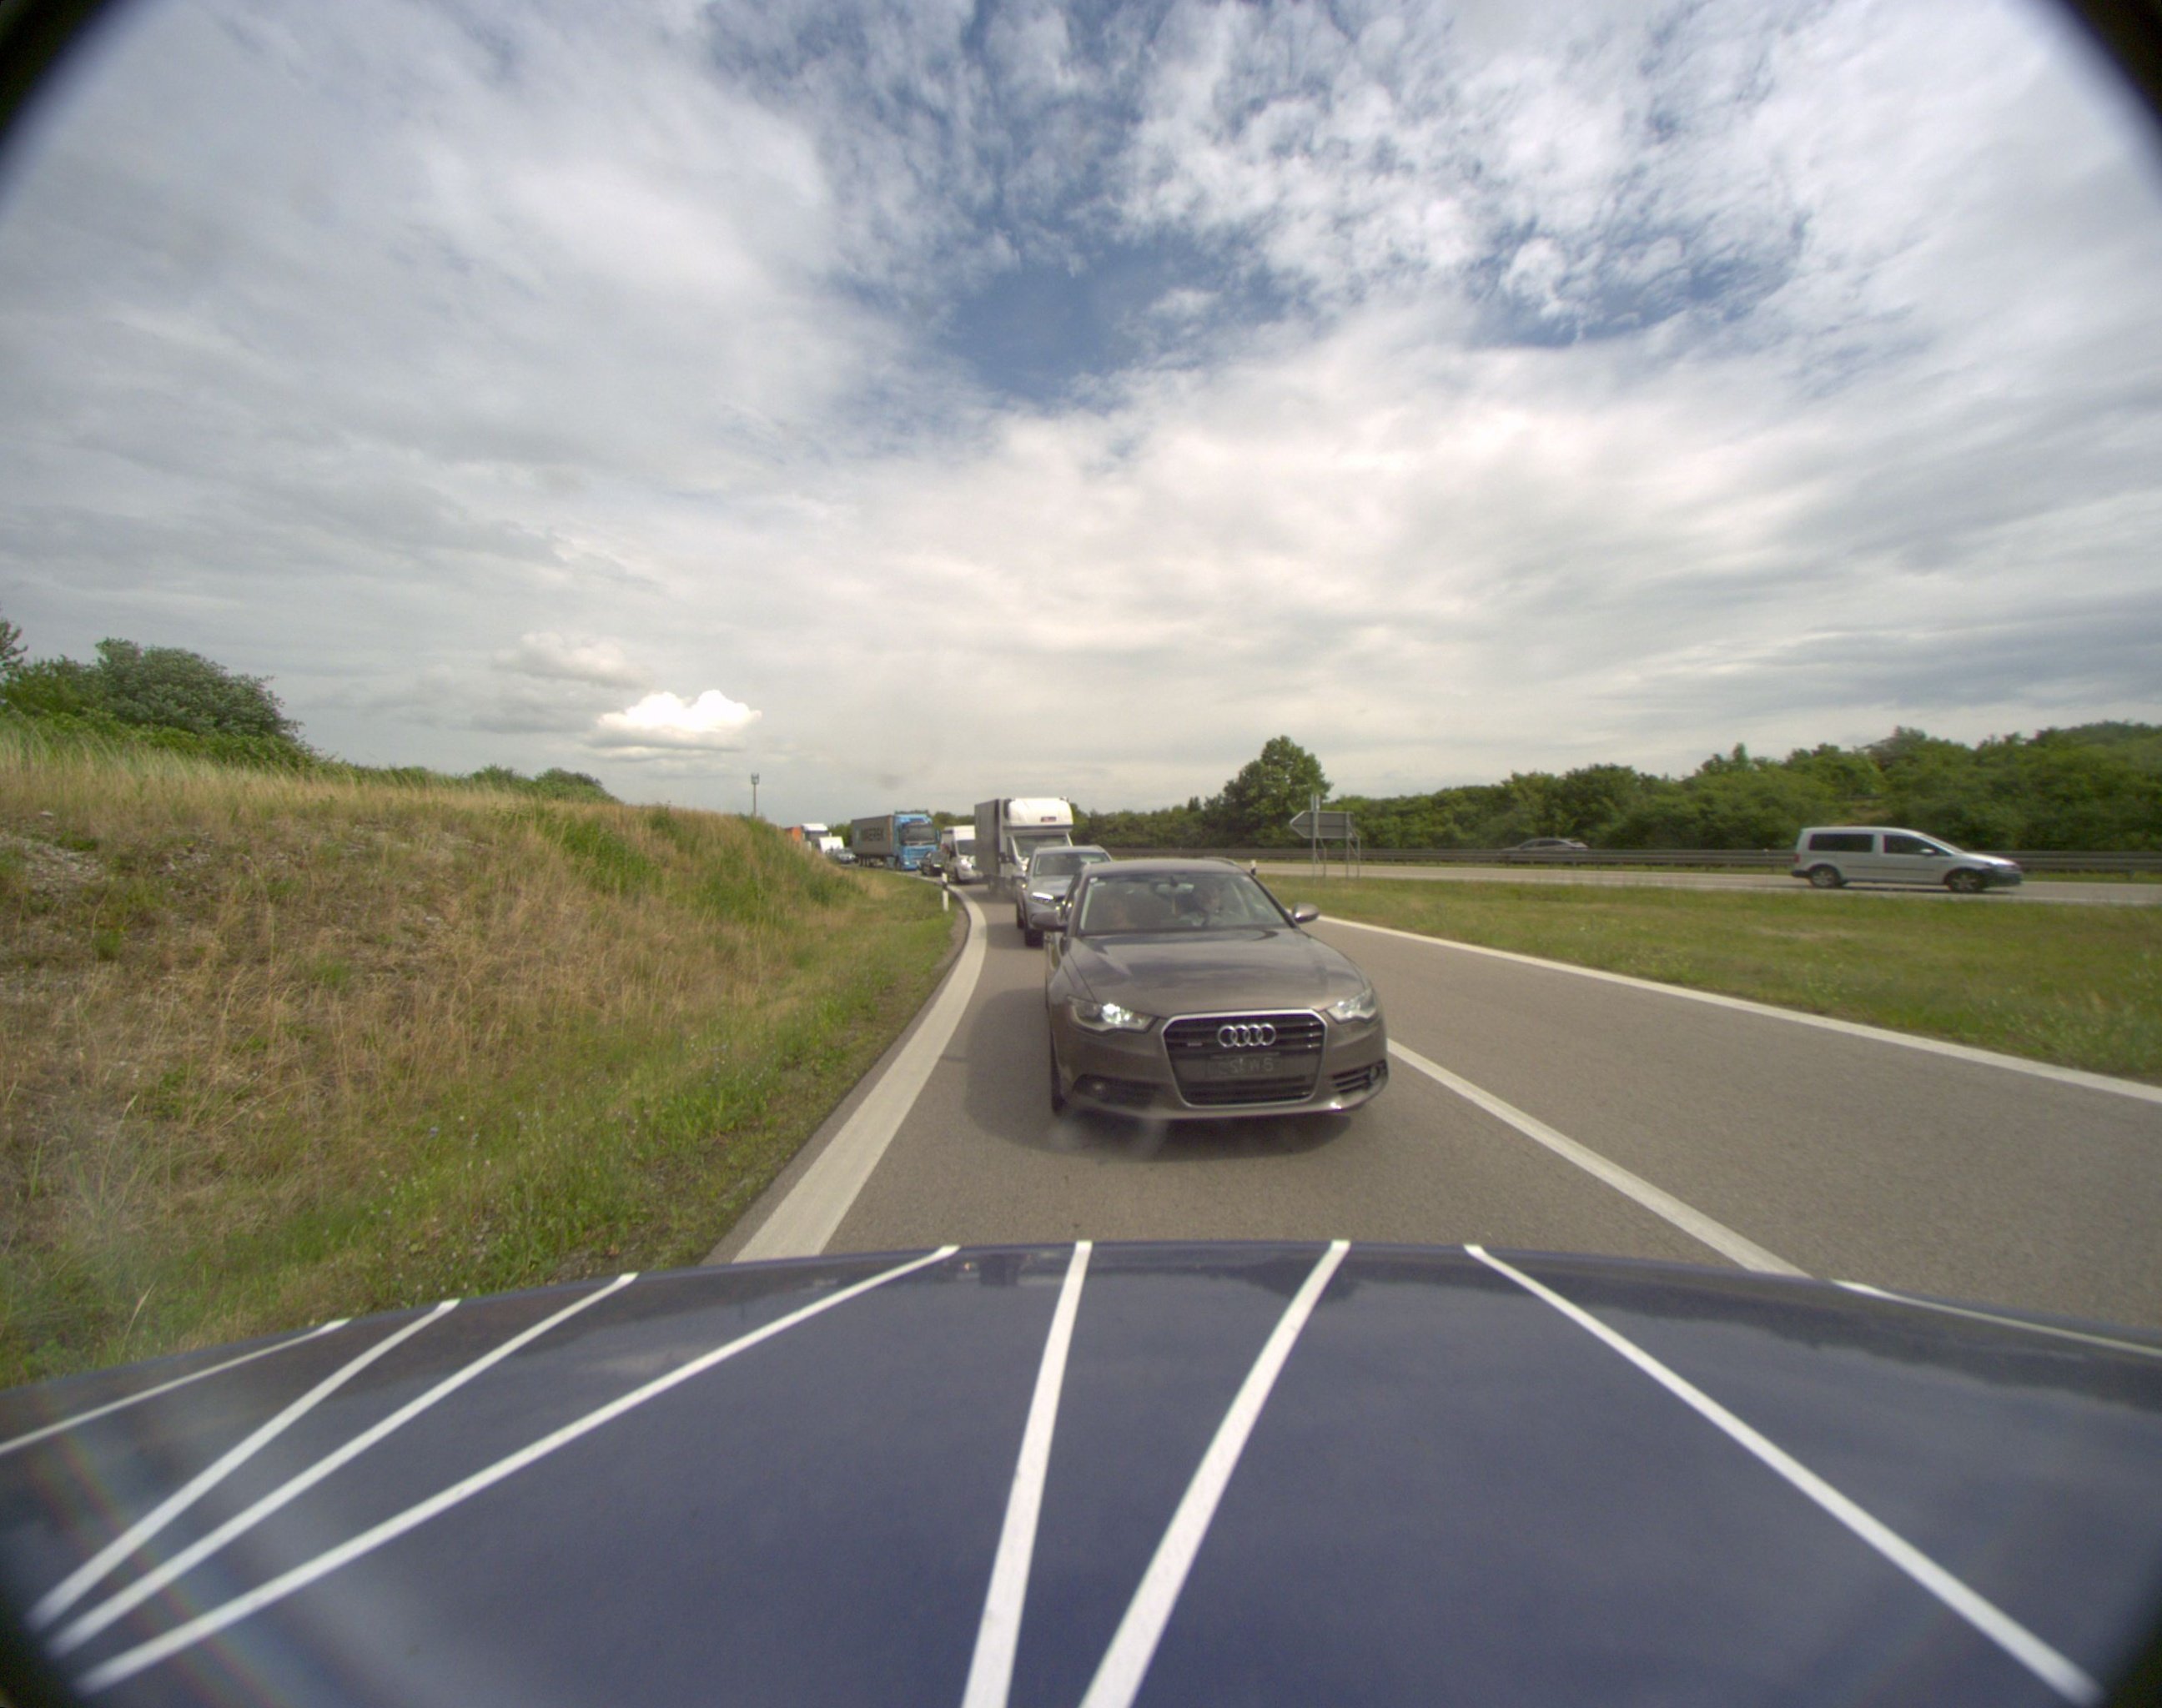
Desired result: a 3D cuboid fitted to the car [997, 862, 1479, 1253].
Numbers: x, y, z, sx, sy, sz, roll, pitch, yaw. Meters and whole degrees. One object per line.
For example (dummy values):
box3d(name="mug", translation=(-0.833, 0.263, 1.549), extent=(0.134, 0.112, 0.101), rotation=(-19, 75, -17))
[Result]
box3d(name="car", translation=(0.650, 0.881, 5.470), extent=(1.999, 1.505, 4.537), rotation=(-2, 1, -1))

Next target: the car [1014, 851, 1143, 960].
box3d(name="car", translation=(-0.217, 0.773, 13.703), extent=(1.843, 1.587, 4.170), rotation=(-1, 1, -7))

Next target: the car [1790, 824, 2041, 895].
box3d(name="car", translation=(23.686, 0.088, 21.762), extent=(2.215, 1.783, 4.500), rotation=(-1, 2, -33))

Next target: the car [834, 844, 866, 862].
box3d(name="car", translation=(-21.306, -0.119, 69.924), extent=(2.003, 1.521, 3.990), rotation=(-2, 2, -29))

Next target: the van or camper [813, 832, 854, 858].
box3d(name="van or camper", translation=(-24.480, -0.971, 75.001), extent=(2.557, 2.200, 5.693), rotation=(-3, 5, -31))

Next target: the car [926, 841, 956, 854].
box3d(name="car", translation=(-17.058, -0.806, 92.632), extent=(2.003, 1.415, 4.446), rotation=(-2, 2, -33))

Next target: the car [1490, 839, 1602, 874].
box3d(name="car", translation=(25.295, 0.094, 41.560), extent=(1.719, 1.783, 4.966), rotation=(-1, 2, -33))

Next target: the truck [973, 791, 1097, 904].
box3d(name="truck", translation=(-1.807, -0.217, 25.521), extent=(2.570, 3.149, 7.457), rotation=(-2, 1, -15))

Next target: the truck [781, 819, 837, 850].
box3d(name="truck", translation=(-30.523, -2.066, 84.878), extent=(3.131, 3.220, 11.131), rotation=(-2, 1, -34))

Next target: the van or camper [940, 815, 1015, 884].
box3d(name="van or camper", translation=(-4.994, -0.201, 35.796), extent=(2.401, 2.892, 5.711), rotation=(-3, 1, -18))

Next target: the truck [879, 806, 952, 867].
box3d(name="truck", translation=(-11.993, -1.174, 54.609), extent=(3.184, 4.049, 6.631), rotation=(-3, 1, -29))

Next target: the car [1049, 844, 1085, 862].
box3d(name="car", translation=(-1.503, -0.089, 81.075), extent=(1.847, 1.862, 4.196), rotation=(-3, 1, -34))

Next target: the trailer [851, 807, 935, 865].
box3d(name="trailer", translation=(-15.232, -1.316, 60.534), extent=(3.280, 4.137, 11.989), rotation=(-3, 1, -29))

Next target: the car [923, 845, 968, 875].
box3d(name="car", translation=(-8.003, 0.327, 44.719), extent=(2.002, 1.609, 3.992), rotation=(-1, 1, -19))
